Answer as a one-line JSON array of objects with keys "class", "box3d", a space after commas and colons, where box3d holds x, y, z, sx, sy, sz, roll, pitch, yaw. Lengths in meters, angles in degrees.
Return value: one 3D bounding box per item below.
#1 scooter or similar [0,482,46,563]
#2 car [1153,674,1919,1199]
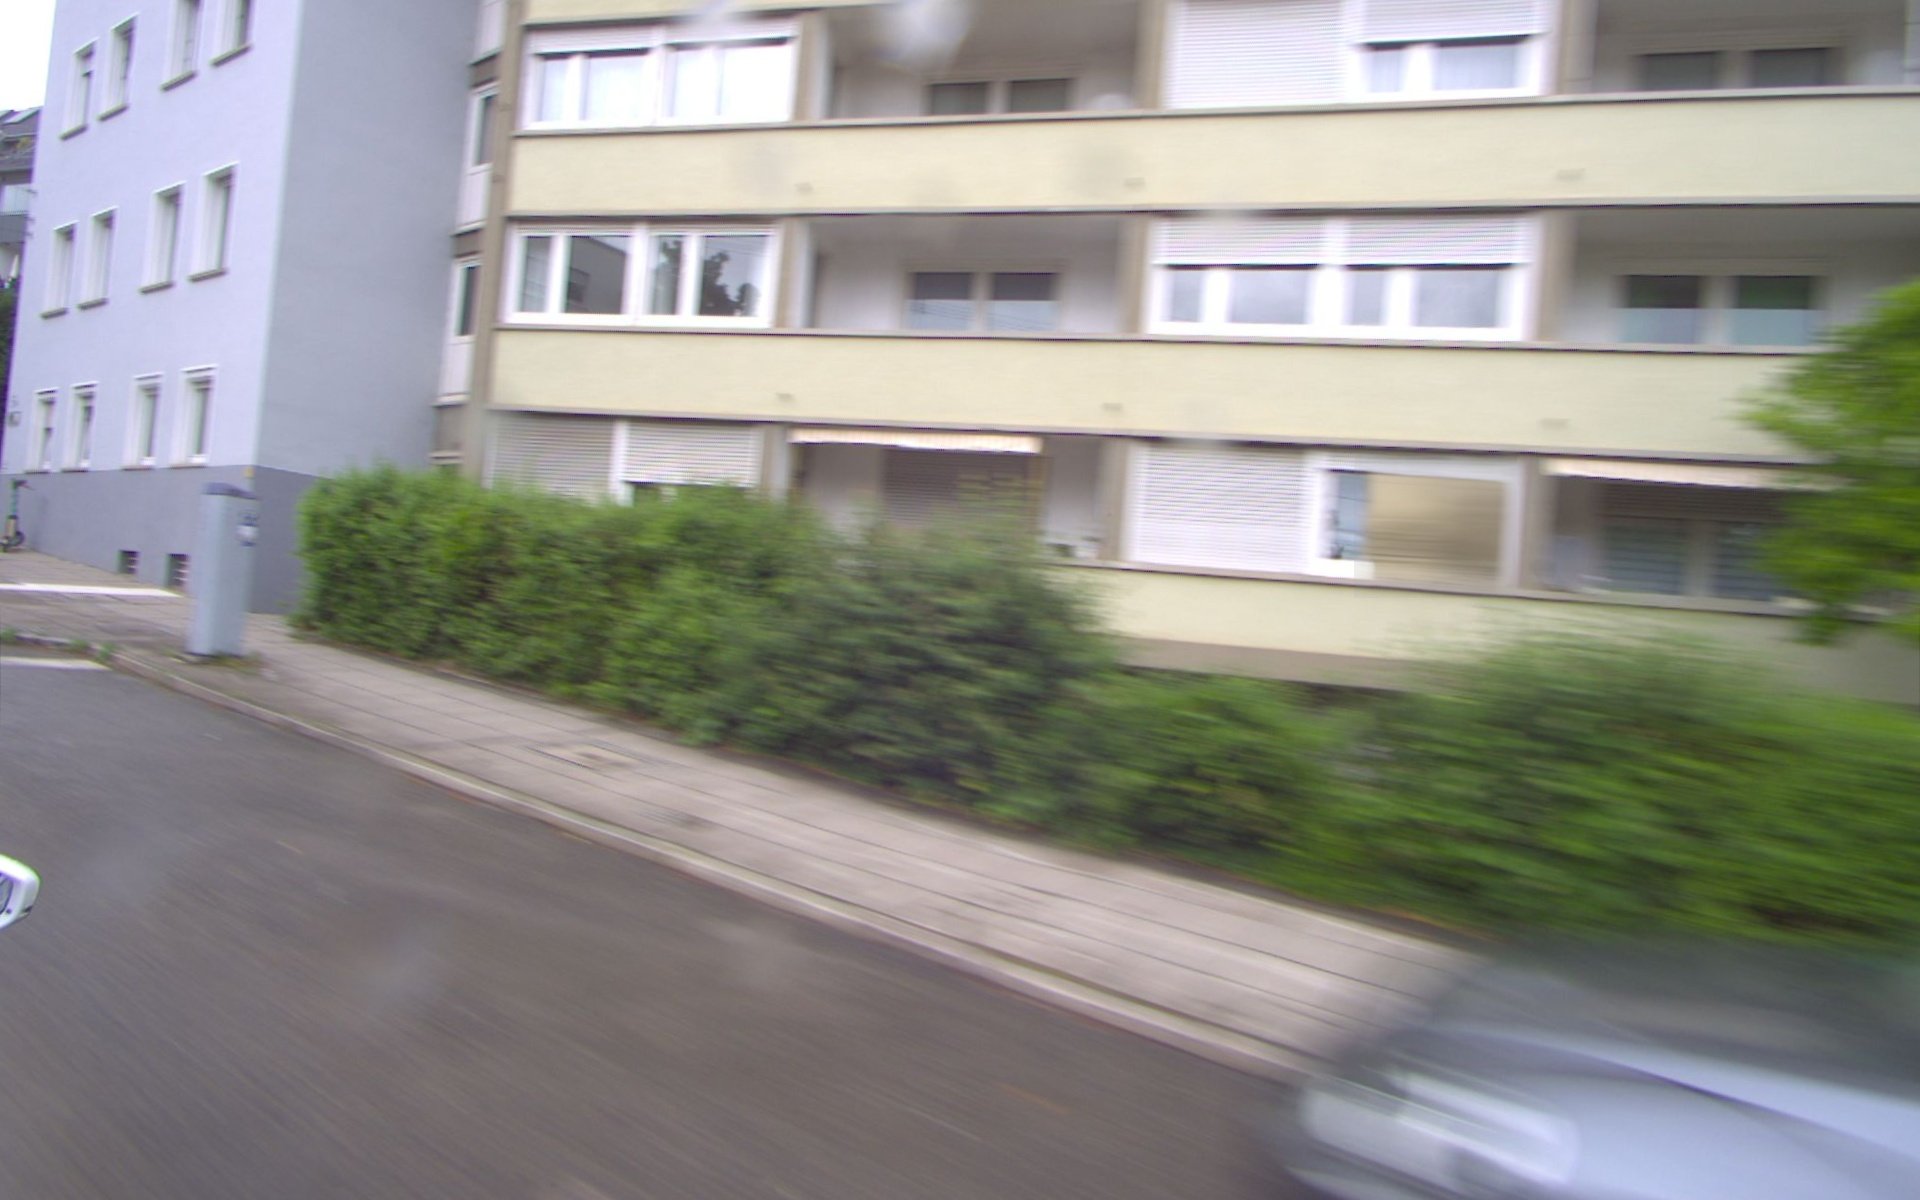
[{"class": "scooter or similar", "box3d": [-16.611, -1.382, 17.610, 1.585, 1.267, 0.574, 10, 5, 37]}, {"class": "car", "box3d": [2.622, 1.110, 1.638, 4.135, 1.481, 1.944, 5, -3, 30]}]
